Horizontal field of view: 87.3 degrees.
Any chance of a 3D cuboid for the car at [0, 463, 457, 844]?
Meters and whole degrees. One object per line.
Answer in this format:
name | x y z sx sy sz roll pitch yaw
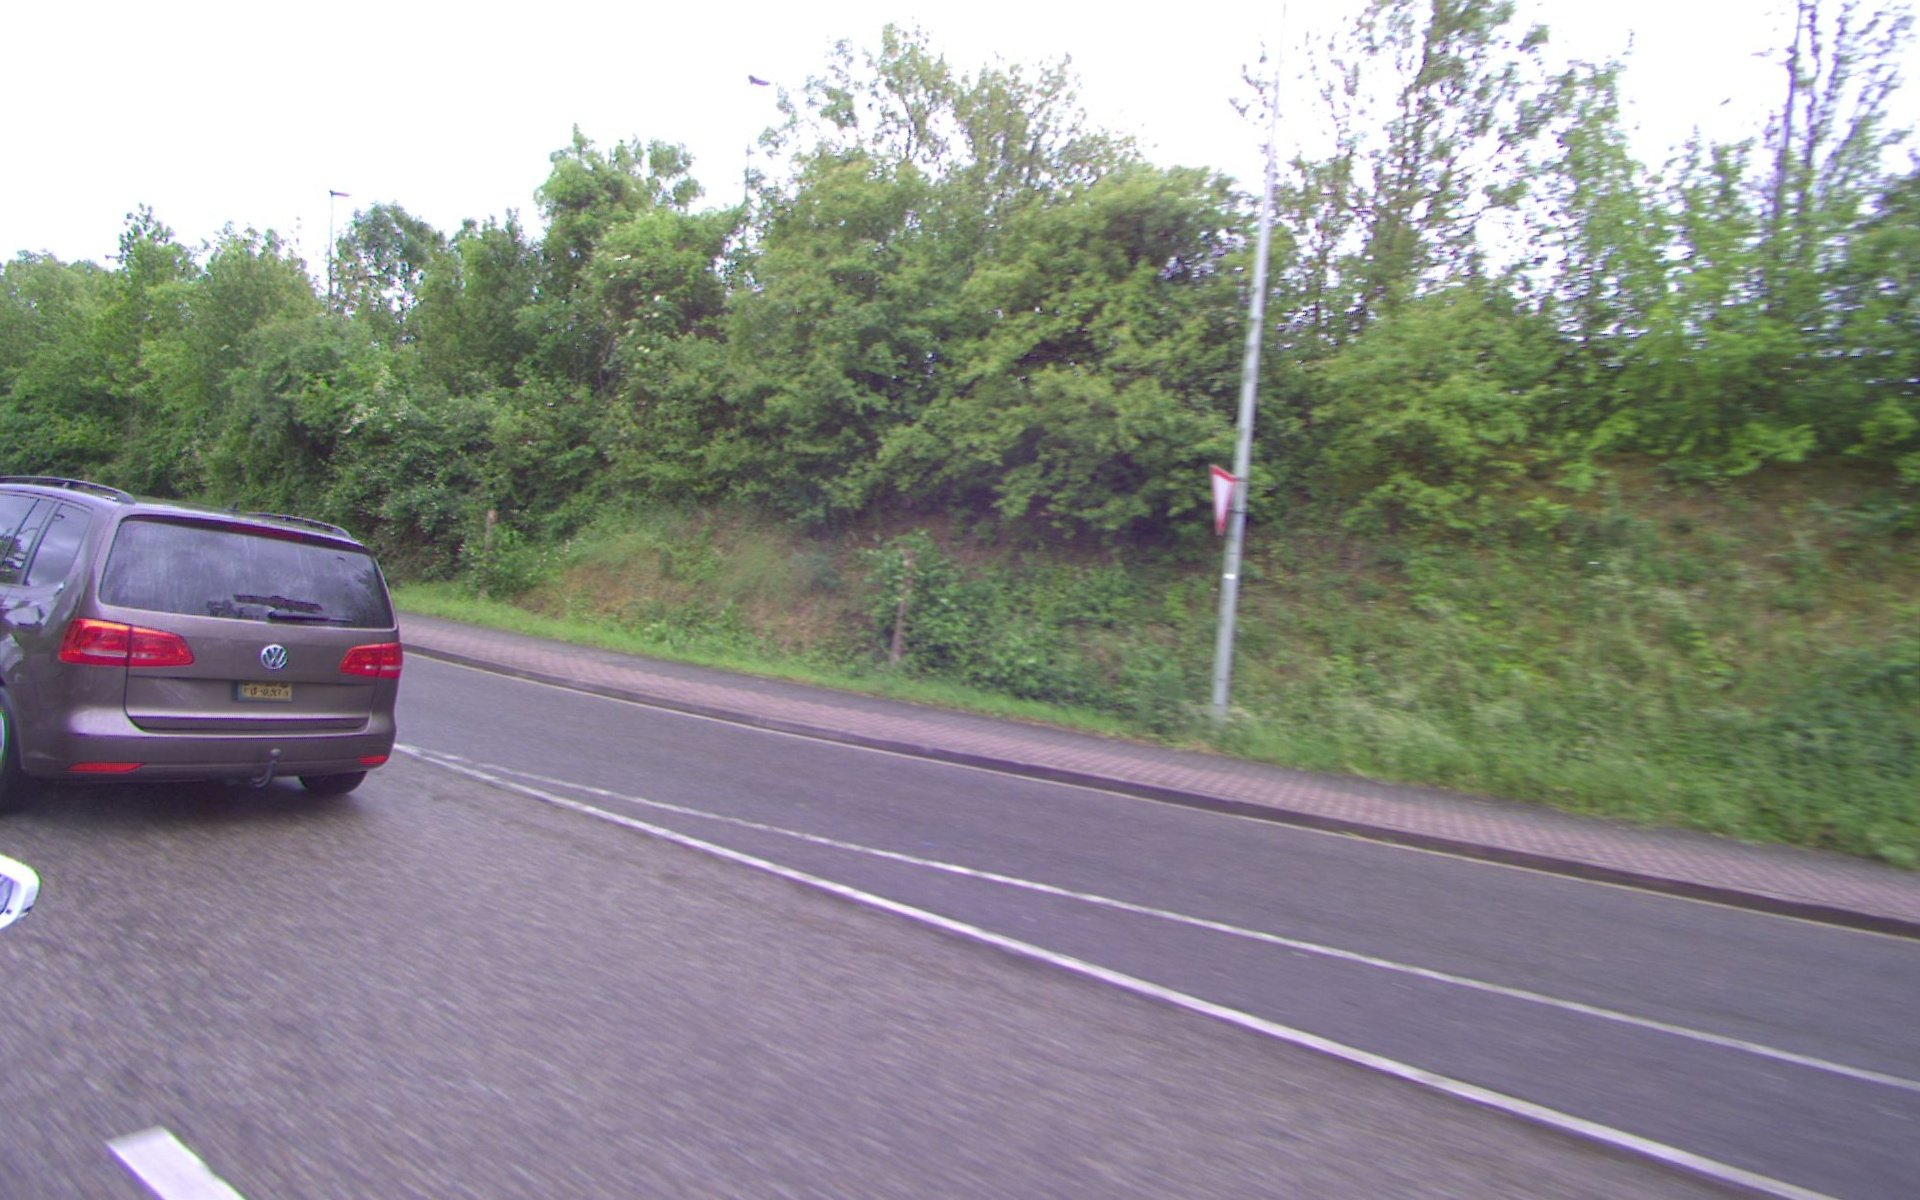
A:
car | -5.163 0.131 6.065 4.060 1.615 1.718 6 -2 30
